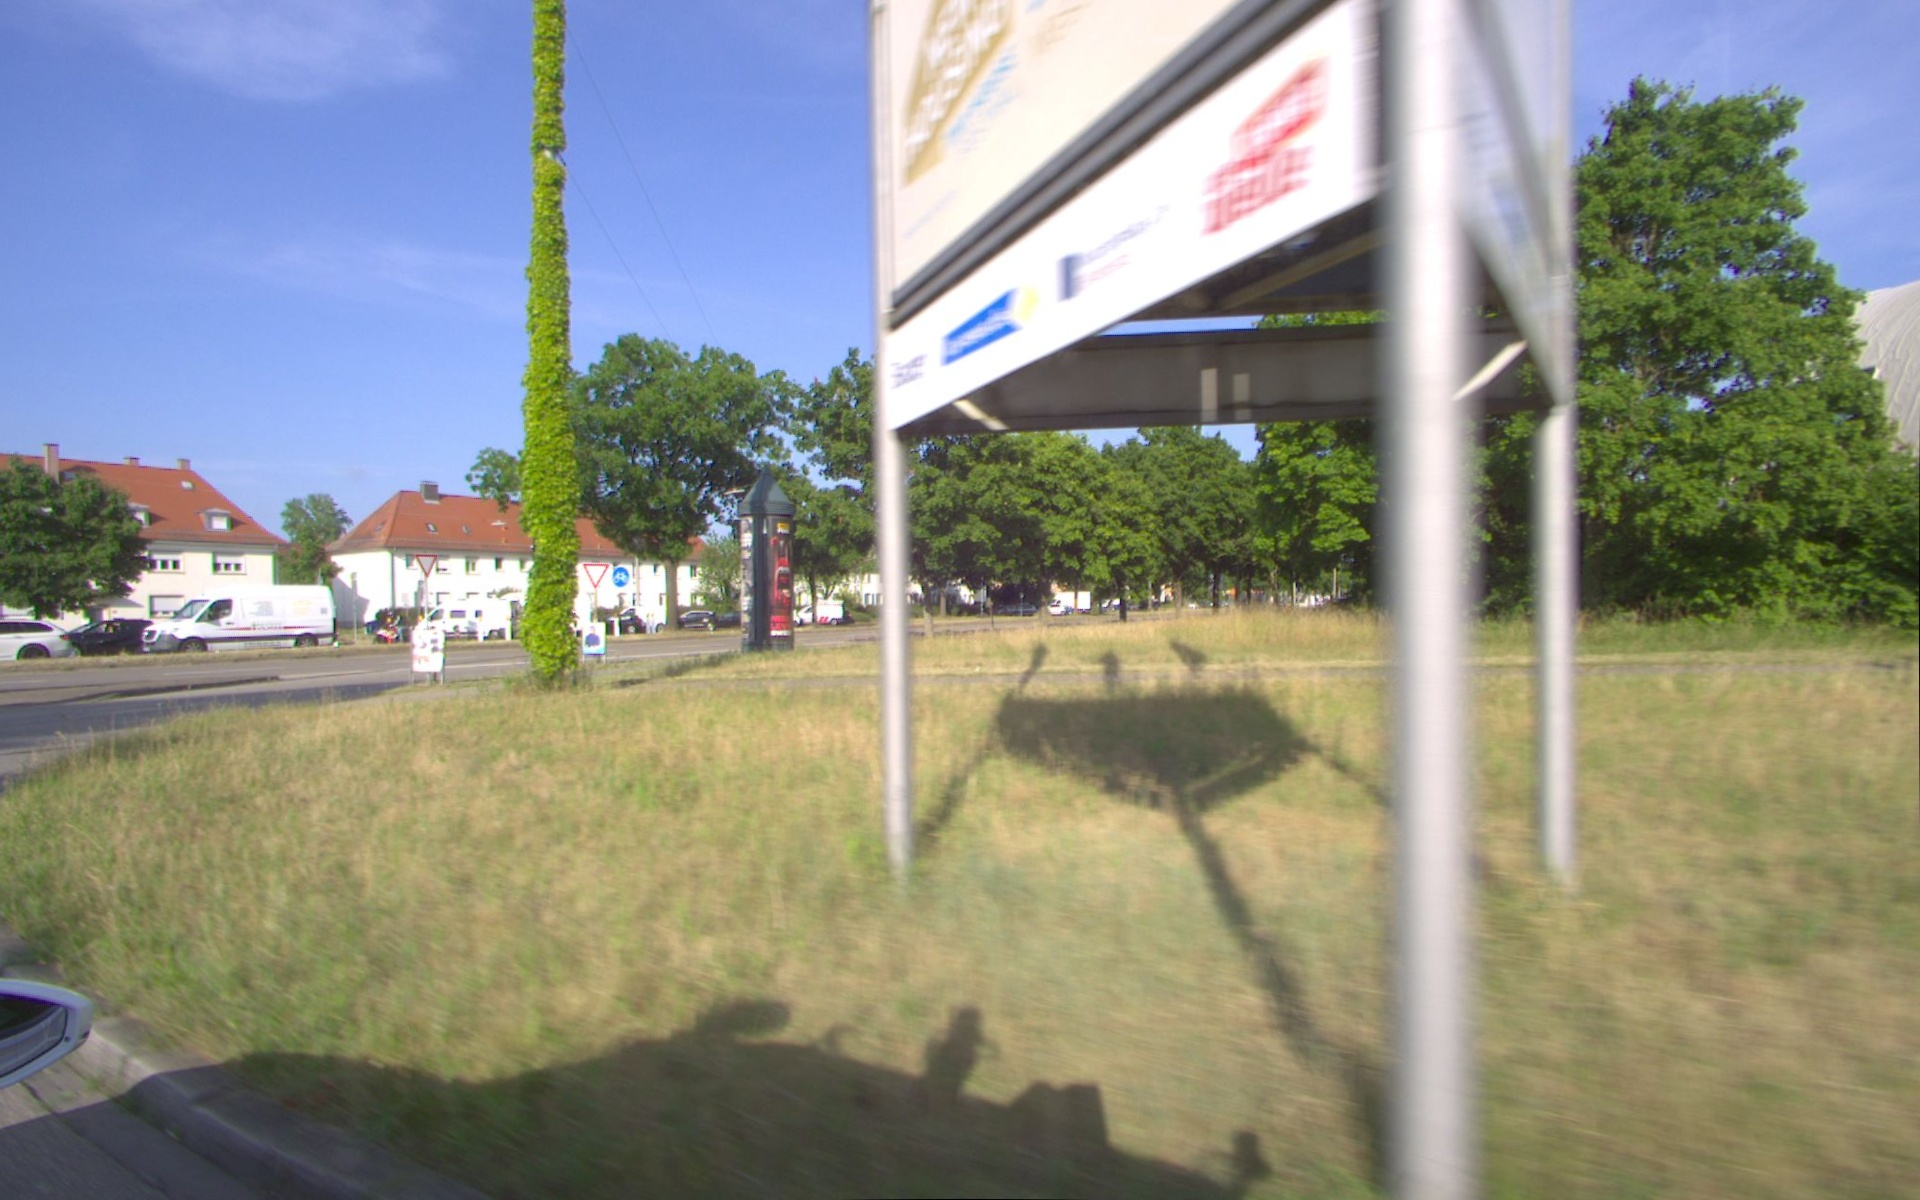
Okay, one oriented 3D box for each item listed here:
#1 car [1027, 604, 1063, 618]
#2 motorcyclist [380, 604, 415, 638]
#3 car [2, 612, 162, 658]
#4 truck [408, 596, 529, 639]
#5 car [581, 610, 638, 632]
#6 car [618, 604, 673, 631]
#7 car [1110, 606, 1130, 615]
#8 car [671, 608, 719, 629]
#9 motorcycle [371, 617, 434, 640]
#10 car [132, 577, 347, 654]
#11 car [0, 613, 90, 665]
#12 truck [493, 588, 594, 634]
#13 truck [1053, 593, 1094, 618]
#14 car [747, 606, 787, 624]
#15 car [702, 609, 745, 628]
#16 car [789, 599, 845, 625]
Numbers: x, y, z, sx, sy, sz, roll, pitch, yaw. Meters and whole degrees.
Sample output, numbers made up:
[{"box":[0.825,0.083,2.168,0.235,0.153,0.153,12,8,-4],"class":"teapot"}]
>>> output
[{"box":[11.361,1.449,134.015,4.457,1.746,1.998,-1,0,-13],"class":"car"},{"box":[-23.117,0.864,41.172,0.669,1.369,1.064,-1,0,30],"class":"motorcyclist"},{"box":[-31.186,1.209,35.677,1.691,1.472,3.980,-1,0,31],"class":"car"},{"box":[-29.902,1.046,61.120,6.234,2.557,2.277,0,0,-4],"class":"truck"},{"box":[-25.259,1.503,72.267,3.841,1.475,1.892,-1,0,-18],"class":"car"},{"box":[-23.525,1.289,75.078,3.839,1.945,1.893,-1,0,-15],"class":"car"},{"box":[23.230,1.520,145.524,1.689,1.371,3.984,-1,0,27],"class":"car"},{"box":[-20.635,1.455,78.053,3.434,1.534,1.894,-1,0,-11],"class":"car"},{"box":[-23.011,1.160,41.366,0.680,0.878,2.268,-1,0,30],"class":"motorcycle"},{"box":[-26.459,0.545,37.098,1.971,2.617,6.198,-1,0,31],"class":"car"},{"box":[-30.169,1.215,30.609,1.813,1.583,5.085,-1,0,31],"class":"car"},{"box":[-27.630,0.722,66.623,5.969,2.892,1.893,-1,0,-16],"class":"truck"},{"box":[16.301,0.762,143.966,5.410,3.510,1.995,-1,0,-20],"class":"truck"},{"box":[-16.672,1.298,86.651,3.369,1.534,1.894,-1,0,-11],"class":"car"},{"box":[-19.713,1.537,83.469,3.369,1.534,1.894,-1,0,-11],"class":"car"},{"box":[-13.217,1.072,92.278,4.889,2.261,1.997,-1,0,-15],"class":"car"}]
